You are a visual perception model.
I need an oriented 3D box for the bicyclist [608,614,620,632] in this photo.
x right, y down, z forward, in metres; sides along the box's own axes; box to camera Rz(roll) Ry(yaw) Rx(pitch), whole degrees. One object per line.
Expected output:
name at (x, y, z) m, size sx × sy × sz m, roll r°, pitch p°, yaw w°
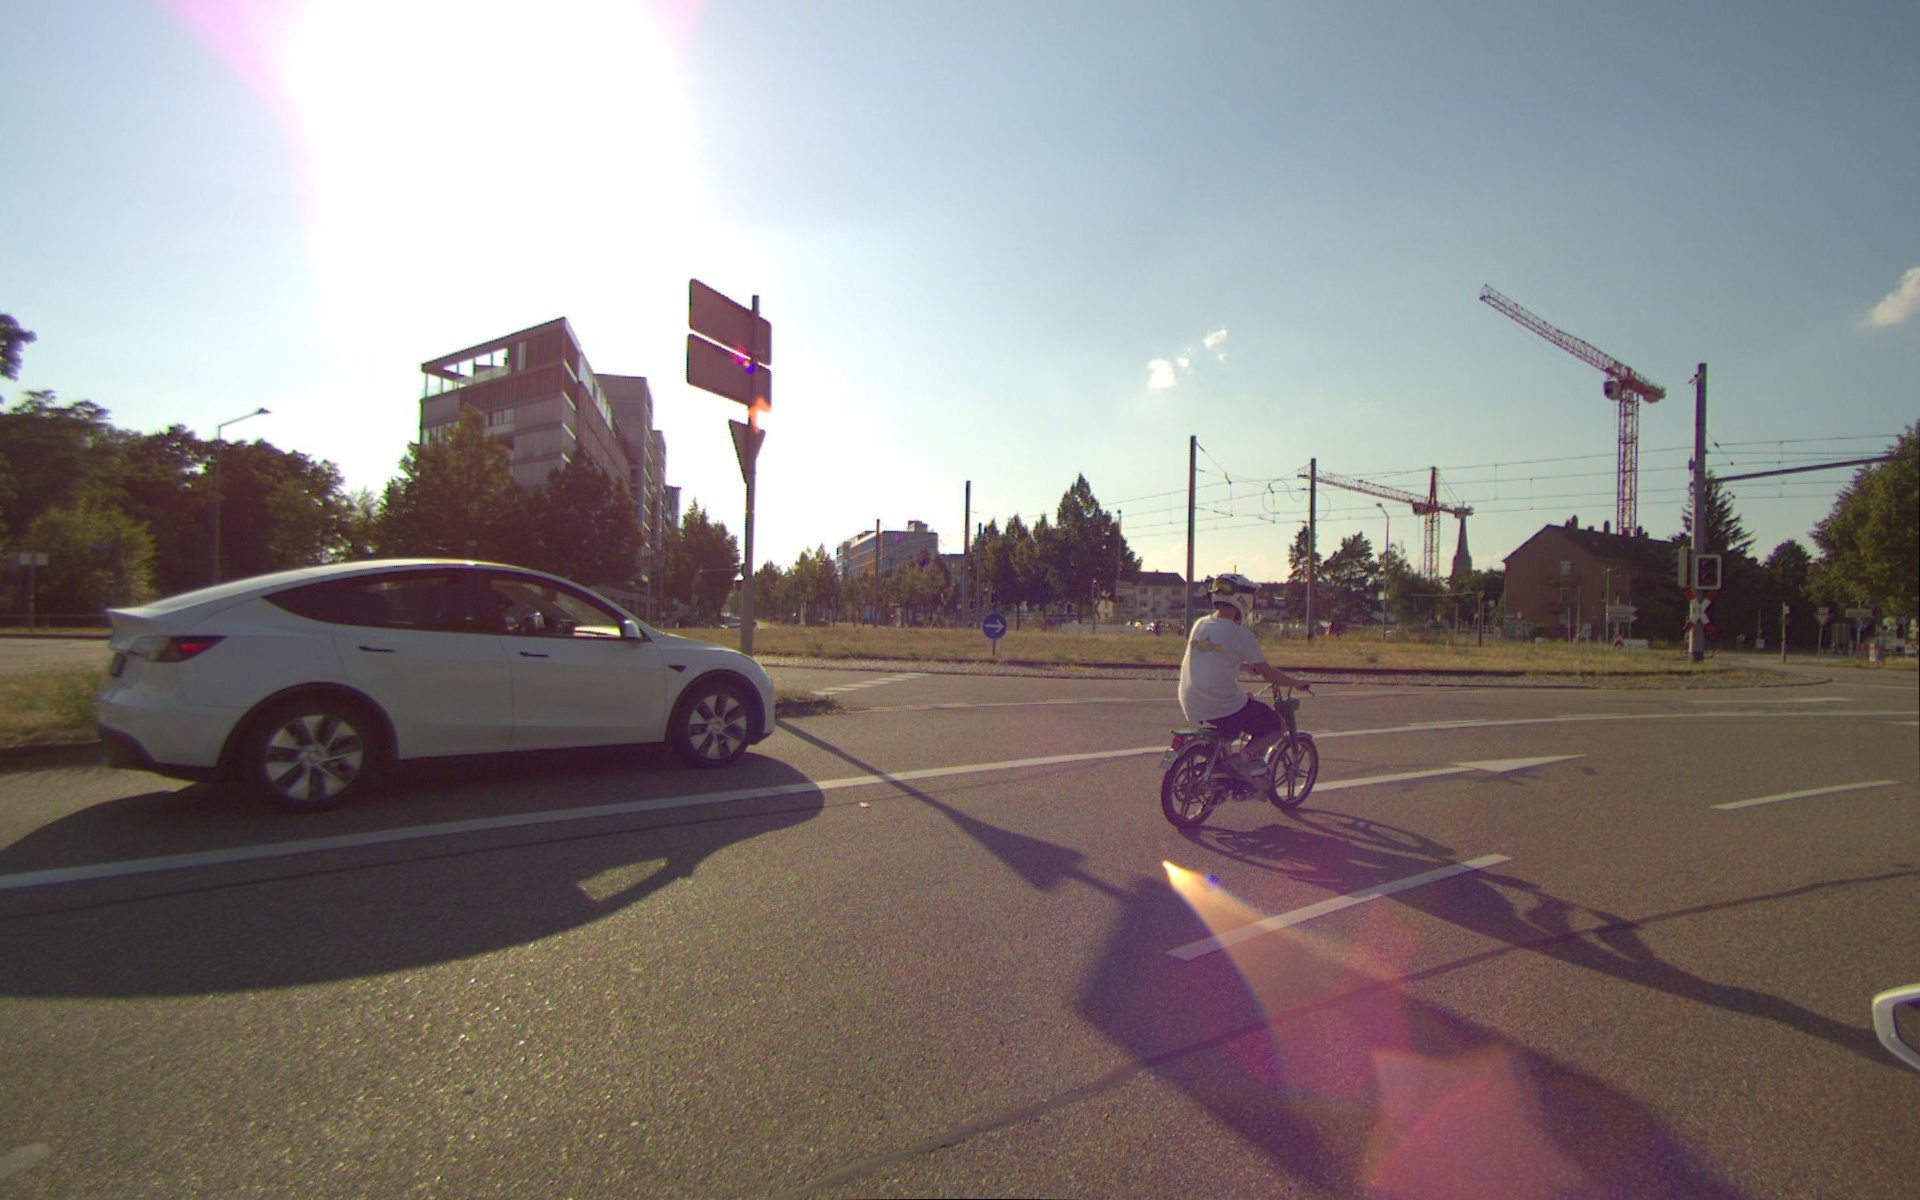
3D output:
bicyclist at (-25.553, 1.694, 74.185) m, size 0.648 × 1.343 × 0.513 m, roll 1°, pitch 0°, yaw -38°

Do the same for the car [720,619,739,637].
car at (-20.191, 2.463, 88.096) m, size 1.458 × 1.495 × 3.293 m, roll 1°, pitch -1°, yaw -11°

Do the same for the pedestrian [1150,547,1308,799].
pedestrian at (1.791, 0.455, 6.679) m, size 0.848 × 1.539 × 0.650 m, roll 1°, pitch -1°, yaw -43°

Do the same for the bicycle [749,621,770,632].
bicycle at (-16.334, 2.192, 81.945) m, size 1.601 × 0.871 × 0.541 m, roll 1°, pitch 0°, yaw -31°

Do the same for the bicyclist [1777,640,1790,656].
bicyclist at (80.449, 4.668, 98.127) m, size 0.881 × 1.583 × 0.656 m, roll 1°, pitch -1°, yaw 42°

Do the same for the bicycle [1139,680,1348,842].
bicycle at (1.988, 1.039, 6.883) m, size 1.842 × 0.887 × 0.473 m, roll 2°, pitch 0°, yaw -43°

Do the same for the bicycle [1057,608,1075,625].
bicycle at (9.361, 1.432, 88.712) m, size 1.513 × 1.493 × 0.480 m, roll 1°, pitch 0°, yaw 12°

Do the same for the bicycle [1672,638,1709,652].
bicycle at (48.993, 3.000, 67.381) m, size 1.957 × 0.836 × 0.429 m, roll 1°, pitch 0°, yaw 27°

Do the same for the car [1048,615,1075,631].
car at (13.861, 3.102, 137.492) m, size 1.972 × 2.040 × 3.977 m, roll 1°, pitch -1°, yaw -23°

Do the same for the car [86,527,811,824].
car at (-3.570, 0.460, 7.714) m, size 4.646 × 1.620 × 1.718 m, roll 2°, pitch 0°, yaw -44°

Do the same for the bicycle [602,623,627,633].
bicycle at (-25.515, 2.080, 74.182) m, size 1.707 × 0.754 × 0.475 m, roll 2°, pitch -1°, yaw -40°

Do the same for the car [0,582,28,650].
car at (-22.818, 0.328, 21.654) m, size 1.623 × 1.545 × 3.945 m, roll 1°, pitch -1°, yaw 3°

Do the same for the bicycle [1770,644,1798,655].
bicycle at (80.431, 4.840, 98.067) m, size 2.073 × 0.976 × 0.596 m, roll 1°, pitch -1°, yaw 39°

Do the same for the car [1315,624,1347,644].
car at (36.803, 3.343, 99.774) m, size 1.887 × 1.878 × 4.002 m, roll 1°, pitch -1°, yaw 3°

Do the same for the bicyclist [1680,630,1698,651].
bicyclist at (48.934, 2.714, 67.451) m, size 0.884 × 1.415 × 0.525 m, roll 1°, pitch 0°, yaw 27°

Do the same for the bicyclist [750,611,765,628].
bicyclist at (-16.498, 1.615, 81.840) m, size 0.947 × 1.375 × 0.687 m, roll 1°, pitch -1°, yaw -32°

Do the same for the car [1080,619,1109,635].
car at (17.319, 3.492, 129.451) m, size 1.972 × 2.040 × 3.977 m, roll 1°, pitch -1°, yaw -23°

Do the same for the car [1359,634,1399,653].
car at (46.903, 4.887, 112.518) m, size 1.658 × 2.040 × 3.778 m, roll 2°, pitch -1°, yaw -39°

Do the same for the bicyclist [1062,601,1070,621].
bicyclist at (9.380, 0.988, 88.718) m, size 0.596 × 1.694 × 0.478 m, roll 1°, pitch -1°, yaw 12°
